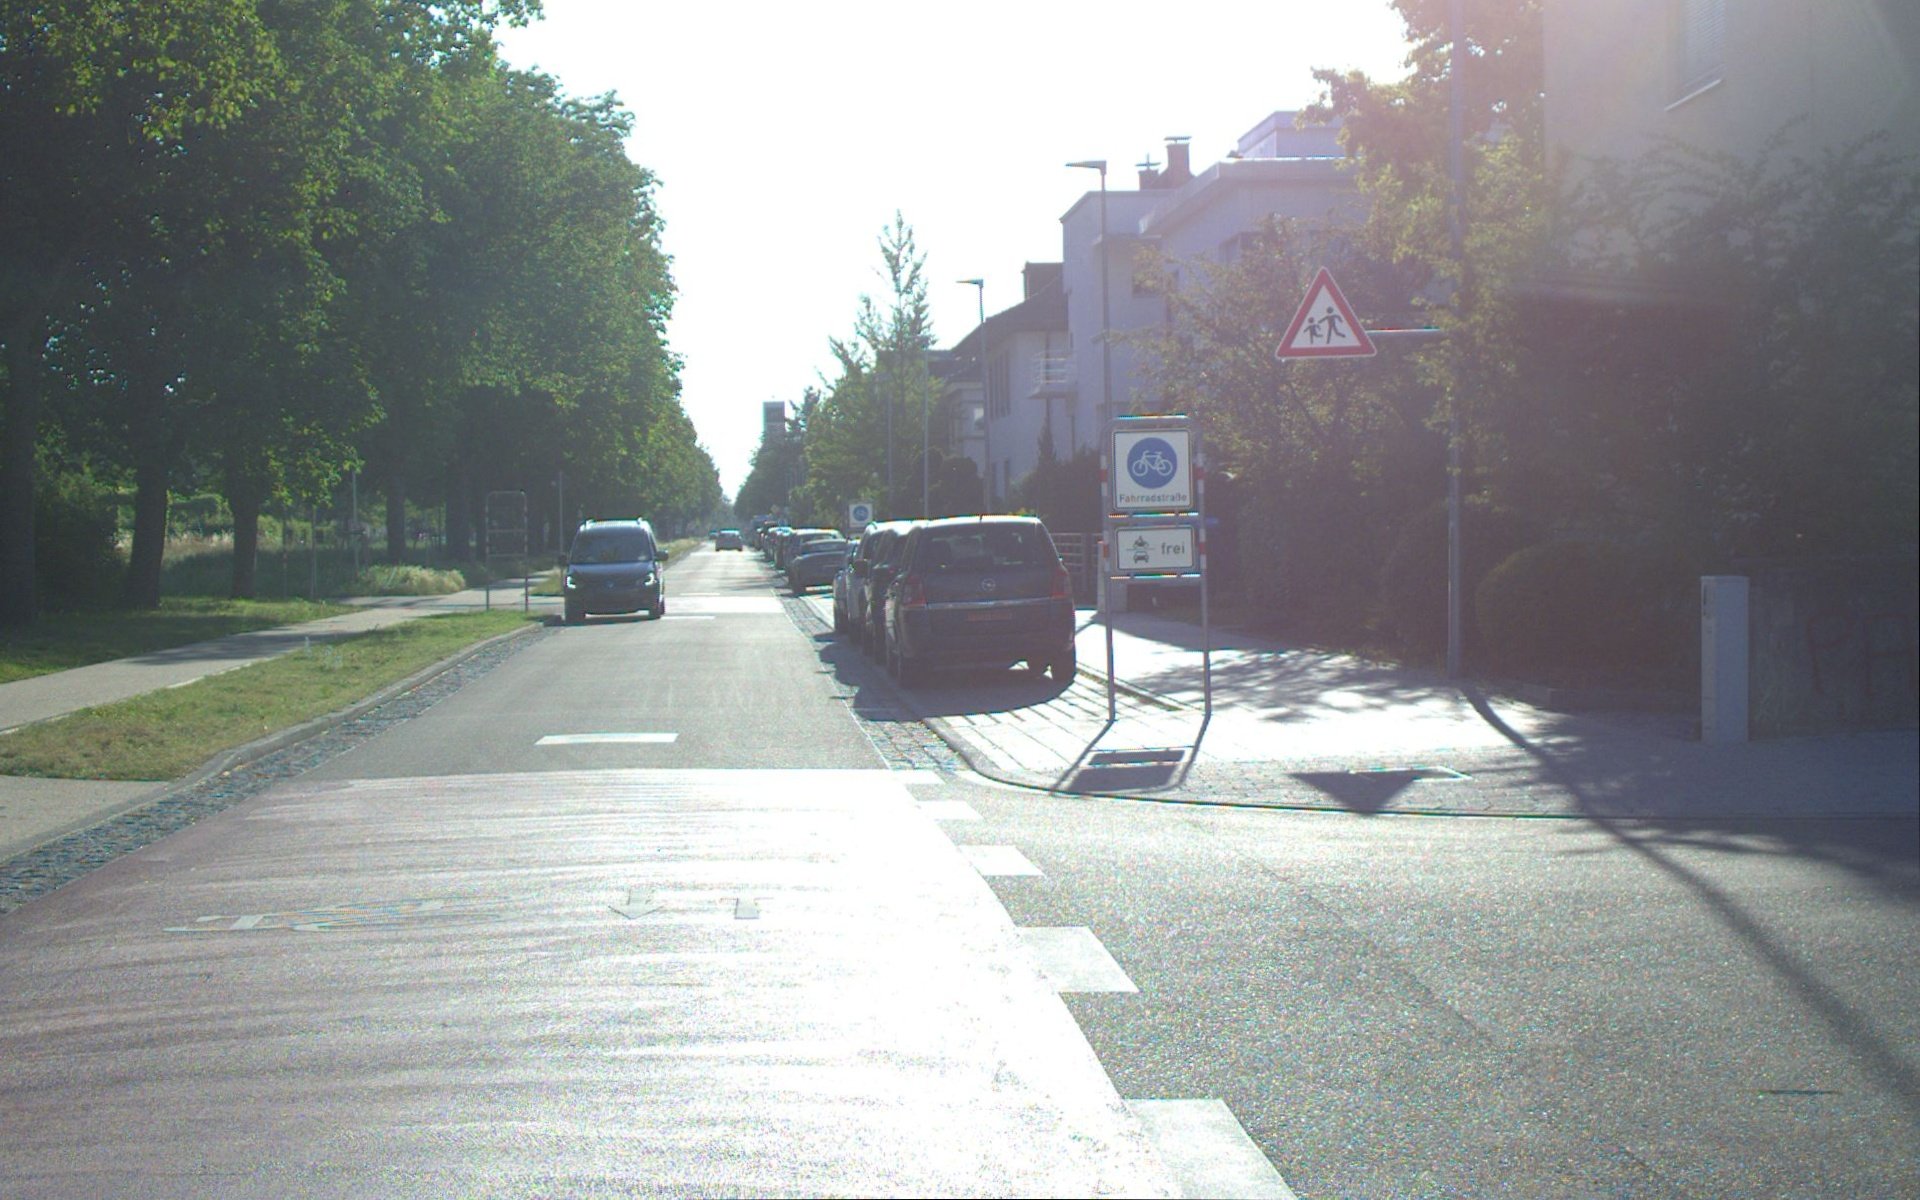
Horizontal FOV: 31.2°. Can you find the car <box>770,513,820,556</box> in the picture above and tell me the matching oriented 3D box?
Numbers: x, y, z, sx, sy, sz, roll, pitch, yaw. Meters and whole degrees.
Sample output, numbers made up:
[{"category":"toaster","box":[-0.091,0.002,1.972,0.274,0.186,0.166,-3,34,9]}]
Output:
[{"category":"car","box":[-5.745,-2.284,119.564,1.626,1.405,4.250,-2,1,-4]}]

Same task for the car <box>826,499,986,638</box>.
[{"category":"car","box":[-0.709,-0.441,45.764,1.993,1.711,4.000,-2,1,-1]}]

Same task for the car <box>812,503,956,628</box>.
[{"category":"car","box":[-1.099,-0.532,50.462,1.993,1.711,4.000,-2,1,-1]}]

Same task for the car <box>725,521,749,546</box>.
[{"category":"car","box":[-15.362,-4.565,236.717,1.626,1.663,4.250,-2,1,-4]}]

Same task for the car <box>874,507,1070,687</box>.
[{"category":"car","box":[0.062,-0.073,34.654,1.626,1.663,4.250,-2,1,-4]}]

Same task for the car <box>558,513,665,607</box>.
[{"category":"car","box":[-6.509,-0.770,64.539,1.825,1.663,4.250,-2,1,-4]}]

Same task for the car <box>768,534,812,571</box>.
[{"category":"car","box":[-6.724,-1.894,135.794,1.626,1.405,4.250,-2,1,-4]}]

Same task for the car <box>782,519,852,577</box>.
[{"category":"car","box":[-3.678,-1.351,87.968,1.626,1.405,4.250,-2,1,-4]}]

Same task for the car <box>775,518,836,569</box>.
[{"category":"car","box":[-4.497,-1.649,99.611,1.626,1.405,4.250,-2,1,-4]}]

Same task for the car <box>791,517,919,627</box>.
[{"category":"car","box":[-1.693,-0.488,56.741,1.993,1.711,4.000,-2,1,-1]}]
